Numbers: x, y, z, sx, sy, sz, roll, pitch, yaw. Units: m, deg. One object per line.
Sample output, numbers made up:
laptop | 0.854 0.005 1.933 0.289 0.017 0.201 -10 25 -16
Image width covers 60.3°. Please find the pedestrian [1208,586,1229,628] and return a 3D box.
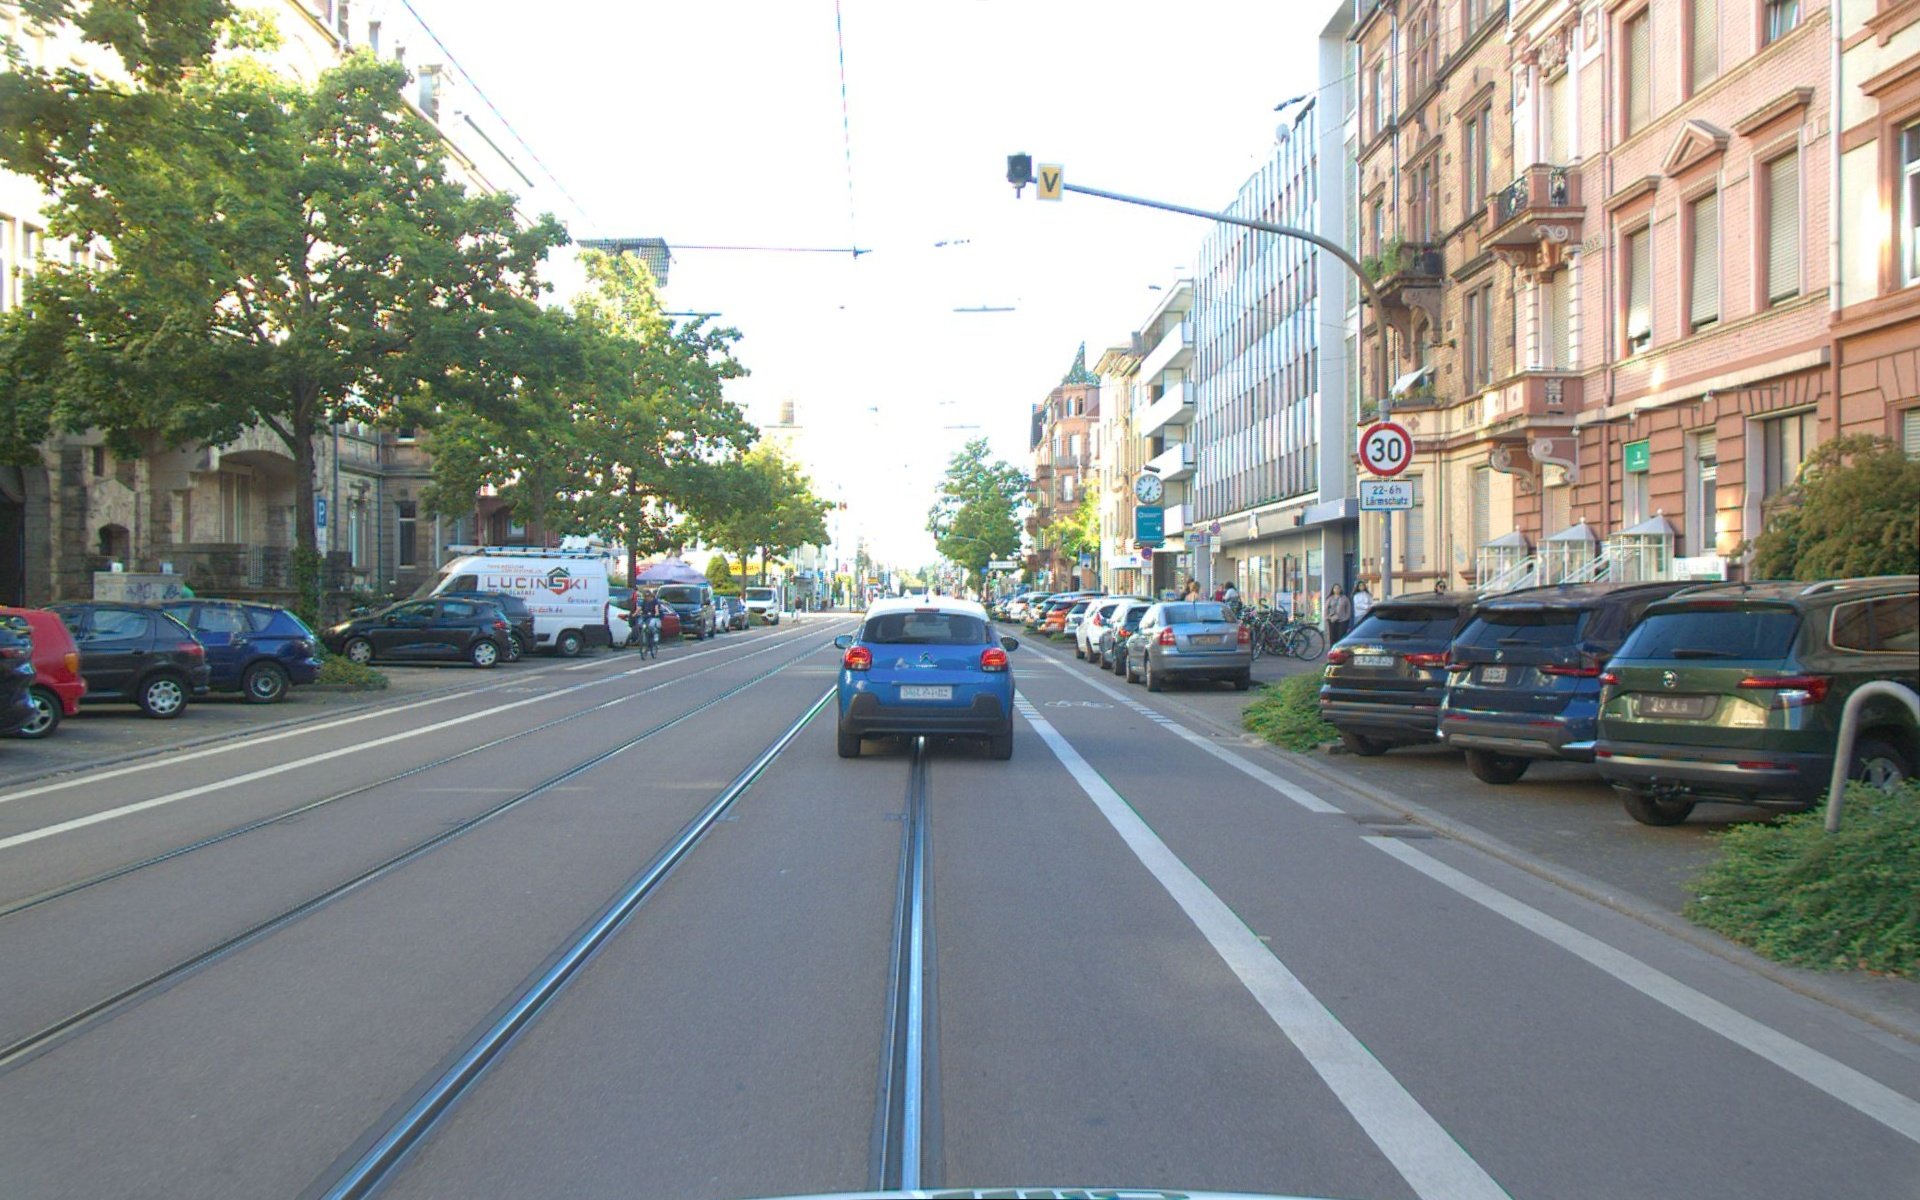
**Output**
pedestrian | 9.960 0.258 63.818 0.678 1.615 0.678 1 -1 -1

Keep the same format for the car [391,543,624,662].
car | -11.179 0.080 41.016 5.316 2.797 1.787 1 -1 -31

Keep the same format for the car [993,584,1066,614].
car | 3.836 -0.025 91.144 3.601 1.601 1.850 1 0 -21

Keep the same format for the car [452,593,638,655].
car | -11.474 0.658 45.845 4.713 1.646 1.692 1 -1 -34

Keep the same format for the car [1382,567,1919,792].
car | 5.736 0.597 13.765 3.937 1.624 2.070 1 0 -26

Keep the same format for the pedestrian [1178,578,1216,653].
pedestrian | 5.172 0.337 36.124 0.697 1.635 0.654 1 -1 -2

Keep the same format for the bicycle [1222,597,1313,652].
bicycle | 7.131 0.570 38.403 1.978 1.243 0.663 1 -1 -2

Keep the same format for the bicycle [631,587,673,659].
bicycle | -7.542 0.564 40.594 0.666 1.708 2.096 1 0 -1

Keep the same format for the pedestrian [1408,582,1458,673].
pedestrian | 8.544 0.493 29.867 0.697 1.635 0.654 1 -1 -2

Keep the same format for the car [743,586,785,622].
car | -10.666 0.231 90.277 1.794 1.880 4.213 1 0 -1

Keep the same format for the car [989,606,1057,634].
car | 3.707 1.177 97.706 3.601 1.561 1.778 1 0 -21

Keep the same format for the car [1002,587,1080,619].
car | 4.155 0.174 85.058 3.615 1.601 1.842 1 -1 -30

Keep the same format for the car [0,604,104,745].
car | -11.663 0.793 18.045 3.951 1.515 1.845 1 -1 -34

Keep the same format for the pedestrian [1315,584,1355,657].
pedestrian | 8.691 0.475 38.382 0.697 1.635 0.654 -3 0 -2

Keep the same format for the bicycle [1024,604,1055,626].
bicycle | 3.891 0.714 80.990 0.549 1.066 1.784 1 -1 -36

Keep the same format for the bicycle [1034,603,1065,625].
bicycle | 4.402 0.706 81.358 0.549 1.066 1.784 1 -1 -36

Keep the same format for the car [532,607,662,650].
car | -11.370 0.888 51.874 3.752 1.287 1.503 1 0 -27

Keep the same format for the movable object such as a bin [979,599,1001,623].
movable object such as a bin | 1.940 0.709 106.954 1.366 1.509 1.655 1 0 -1

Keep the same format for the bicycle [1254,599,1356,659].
bicycle | 7.285 0.606 34.977 2.015 1.243 0.663 0 -1 -3

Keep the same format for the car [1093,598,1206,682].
car | 3.877 0.799 34.456 1.835 1.624 3.999 1 0 -1

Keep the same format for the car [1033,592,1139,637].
car | 4.526 0.533 59.361 3.409 1.582 1.803 1 -1 -33

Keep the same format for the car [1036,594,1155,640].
car | 4.659 0.588 56.853 3.686 1.547 1.945 1 -1 -34

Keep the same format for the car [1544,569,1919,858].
car | 6.082 0.660 11.044 3.937 1.624 1.943 1 0 -26

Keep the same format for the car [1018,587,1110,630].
car | 4.113 0.351 65.408 3.417 1.669 1.662 1 -1 -38

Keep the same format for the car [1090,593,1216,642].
car | 6.205 0.563 53.151 3.735 1.513 1.819 1 -1 -31

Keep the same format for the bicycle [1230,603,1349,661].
bicycle | 7.263 0.701 36.482 2.487 1.243 0.663 1 -1 -2

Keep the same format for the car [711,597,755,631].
car | -10.461 0.658 76.474 1.713 1.513 4.038 1 0 -4

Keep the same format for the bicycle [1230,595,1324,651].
bicycle | 7.178 0.514 37.491 1.978 1.243 0.663 1 -1 -2

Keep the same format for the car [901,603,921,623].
car | -3.710 0.977 125.708 1.394 1.457 3.138 1 0 -1

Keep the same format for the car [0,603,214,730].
car | -11.641 0.806 20.742 3.951 1.515 1.785 1 -1 -34

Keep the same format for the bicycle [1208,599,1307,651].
bicycle | 7.286 0.612 40.583 2.309 1.243 0.664 1 -1 2

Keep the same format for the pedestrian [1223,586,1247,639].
pedestrian | 9.277 0.414 55.768 0.678 1.787 0.678 1 -1 -1

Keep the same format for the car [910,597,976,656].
car | -0.499 0.746 48.227 1.835 1.624 3.999 1 0 -1

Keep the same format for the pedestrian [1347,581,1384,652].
pedestrian | 9.458 0.392 38.587 0.697 1.635 0.654 1 -1 -2

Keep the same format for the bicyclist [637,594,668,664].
bicyclist | -7.554 0.714 40.654 0.621 1.711 0.726 1 -1 -1

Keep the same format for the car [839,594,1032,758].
car | -0.263 0.698 16.688 1.727 1.466 3.555 1 0 -1

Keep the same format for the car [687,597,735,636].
car | -10.698 0.705 71.315 1.713 1.646 4.407 1 0 -4

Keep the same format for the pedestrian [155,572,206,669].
pedestrian | -14.441 0.378 30.661 0.566 1.756 0.761 1 -1 -2

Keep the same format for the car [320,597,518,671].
car | -11.526 0.727 35.402 3.924 1.515 1.797 1 0 -18

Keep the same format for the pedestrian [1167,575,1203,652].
pedestrian | 5.080 0.302 37.392 0.697 1.701 0.654 1 -1 -2

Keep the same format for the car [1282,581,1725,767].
car | 5.443 0.670 16.423 4.262 1.624 1.960 1 -1 -33

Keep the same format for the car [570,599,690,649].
car | -11.040 0.801 55.333 3.672 1.651 1.777 1 -1 -23

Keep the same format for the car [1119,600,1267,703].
car | 3.925 0.831 28.632 1.835 1.624 4.718 1 0 -1

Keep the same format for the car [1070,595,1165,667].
car | 3.749 0.721 39.950 1.835 1.624 3.999 1 0 -1

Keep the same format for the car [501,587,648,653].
car | -11.288 0.589 48.458 3.939 1.848 1.697 1 -1 -27

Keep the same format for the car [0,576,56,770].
car | -10.946 0.666 15.369 4.314 1.814 1.973 1 -1 -34

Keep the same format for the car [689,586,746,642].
car | -9.089 0.525 62.248 1.713 2.008 5.236 1 0 -4

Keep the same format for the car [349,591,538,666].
car | -11.862 0.645 38.006 3.939 1.646 1.697 1 -1 -27

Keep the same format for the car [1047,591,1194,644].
car | 4.860 0.539 49.839 4.394 1.534 1.520 1 -1 -31

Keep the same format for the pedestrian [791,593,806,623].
pedestrian | -9.351 0.471 95.857 0.720 1.756 0.623 1 -1 -25

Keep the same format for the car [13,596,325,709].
car | -11.444 0.727 24.025 3.943 1.515 1.789 1 -1 -29

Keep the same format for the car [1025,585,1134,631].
car | 4.528 0.309 62.533 3.686 1.681 2.023 1 -1 -34
